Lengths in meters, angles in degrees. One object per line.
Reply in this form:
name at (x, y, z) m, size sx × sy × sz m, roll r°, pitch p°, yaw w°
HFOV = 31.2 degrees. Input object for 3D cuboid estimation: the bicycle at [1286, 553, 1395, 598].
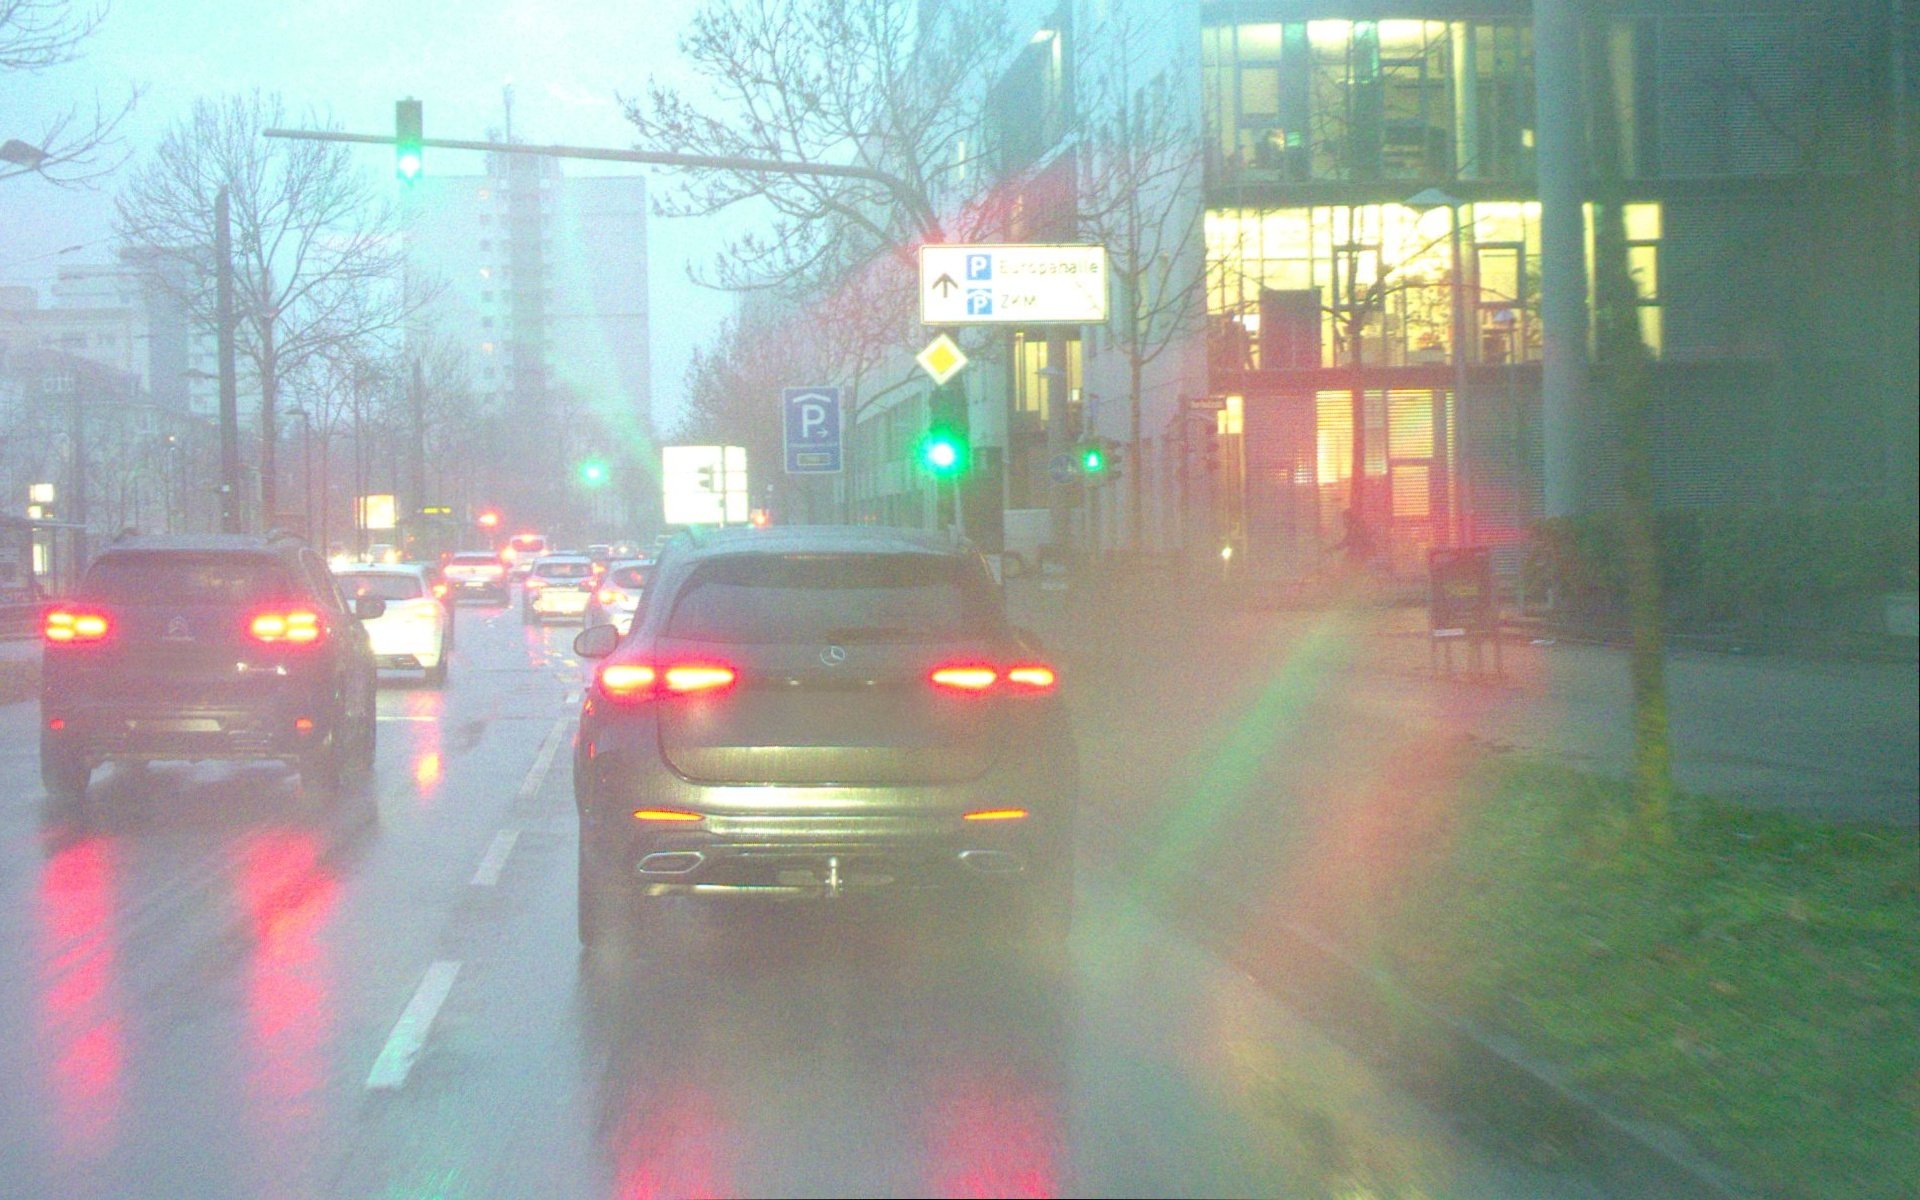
bicycle at (6.537, -0.422, 59.035) m, size 1.731 × 0.743 × 0.650 m, roll 1°, pitch 1°, yaw 28°

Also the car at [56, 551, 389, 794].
car at (-4.791, 0.414, 22.800) m, size 1.817 × 1.445 × 4.001 m, roll 1°, pitch 1°, yaw -7°

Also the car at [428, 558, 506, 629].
car at (-14.589, -0.209, 101.906) m, size 1.993 × 2.007 × 4.001 m, roll 1°, pitch 1°, yaw -4°

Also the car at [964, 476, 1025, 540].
car at (0.964, -2.581, 96.943) m, size 1.627 × 1.753 × 3.422 m, roll 1°, pitch 1°, yaw -1°

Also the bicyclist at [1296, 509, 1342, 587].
bicyclist at (6.186, -0.894, 59.248) m, size 0.622 × 1.325 × 0.565 m, roll 1°, pitch 1°, yaw 28°

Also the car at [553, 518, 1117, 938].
car at (-0.617, 0.438, 14.056) m, size 1.993 × 1.478 × 3.701 m, roll 1°, pitch 1°, yaw -6°

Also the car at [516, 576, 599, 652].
car at (-8.408, 0.276, 72.011) m, size 1.614 × 1.516 × 3.409 m, roll 1°, pitch 1°, yaw -5°

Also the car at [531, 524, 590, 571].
car at (-14.797, -1.958, 127.570) m, size 1.993 × 1.709 × 3.423 m, roll 1°, pitch 1°, yaw -4°

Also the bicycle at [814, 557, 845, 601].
bicycle at (-2.933, -0.483, 77.151) m, size 0.544 × 0.962 × 1.346 m, roll 1°, pitch 1°, yaw -8°

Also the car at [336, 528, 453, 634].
car at (-9.654, -0.330, 58.882) m, size 1.662 × 1.753 × 3.568 m, roll 1°, pitch 0°, yaw -4°

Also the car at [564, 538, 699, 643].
car at (-5.023, -0.175, 52.927) m, size 1.867 × 1.537 × 3.611 m, roll 1°, pitch 1°, yaw -2°

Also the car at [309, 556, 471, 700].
car at (-6.822, 0.306, 41.398) m, size 1.689 × 1.630 × 3.474 m, roll 1°, pitch 1°, yaw -6°
